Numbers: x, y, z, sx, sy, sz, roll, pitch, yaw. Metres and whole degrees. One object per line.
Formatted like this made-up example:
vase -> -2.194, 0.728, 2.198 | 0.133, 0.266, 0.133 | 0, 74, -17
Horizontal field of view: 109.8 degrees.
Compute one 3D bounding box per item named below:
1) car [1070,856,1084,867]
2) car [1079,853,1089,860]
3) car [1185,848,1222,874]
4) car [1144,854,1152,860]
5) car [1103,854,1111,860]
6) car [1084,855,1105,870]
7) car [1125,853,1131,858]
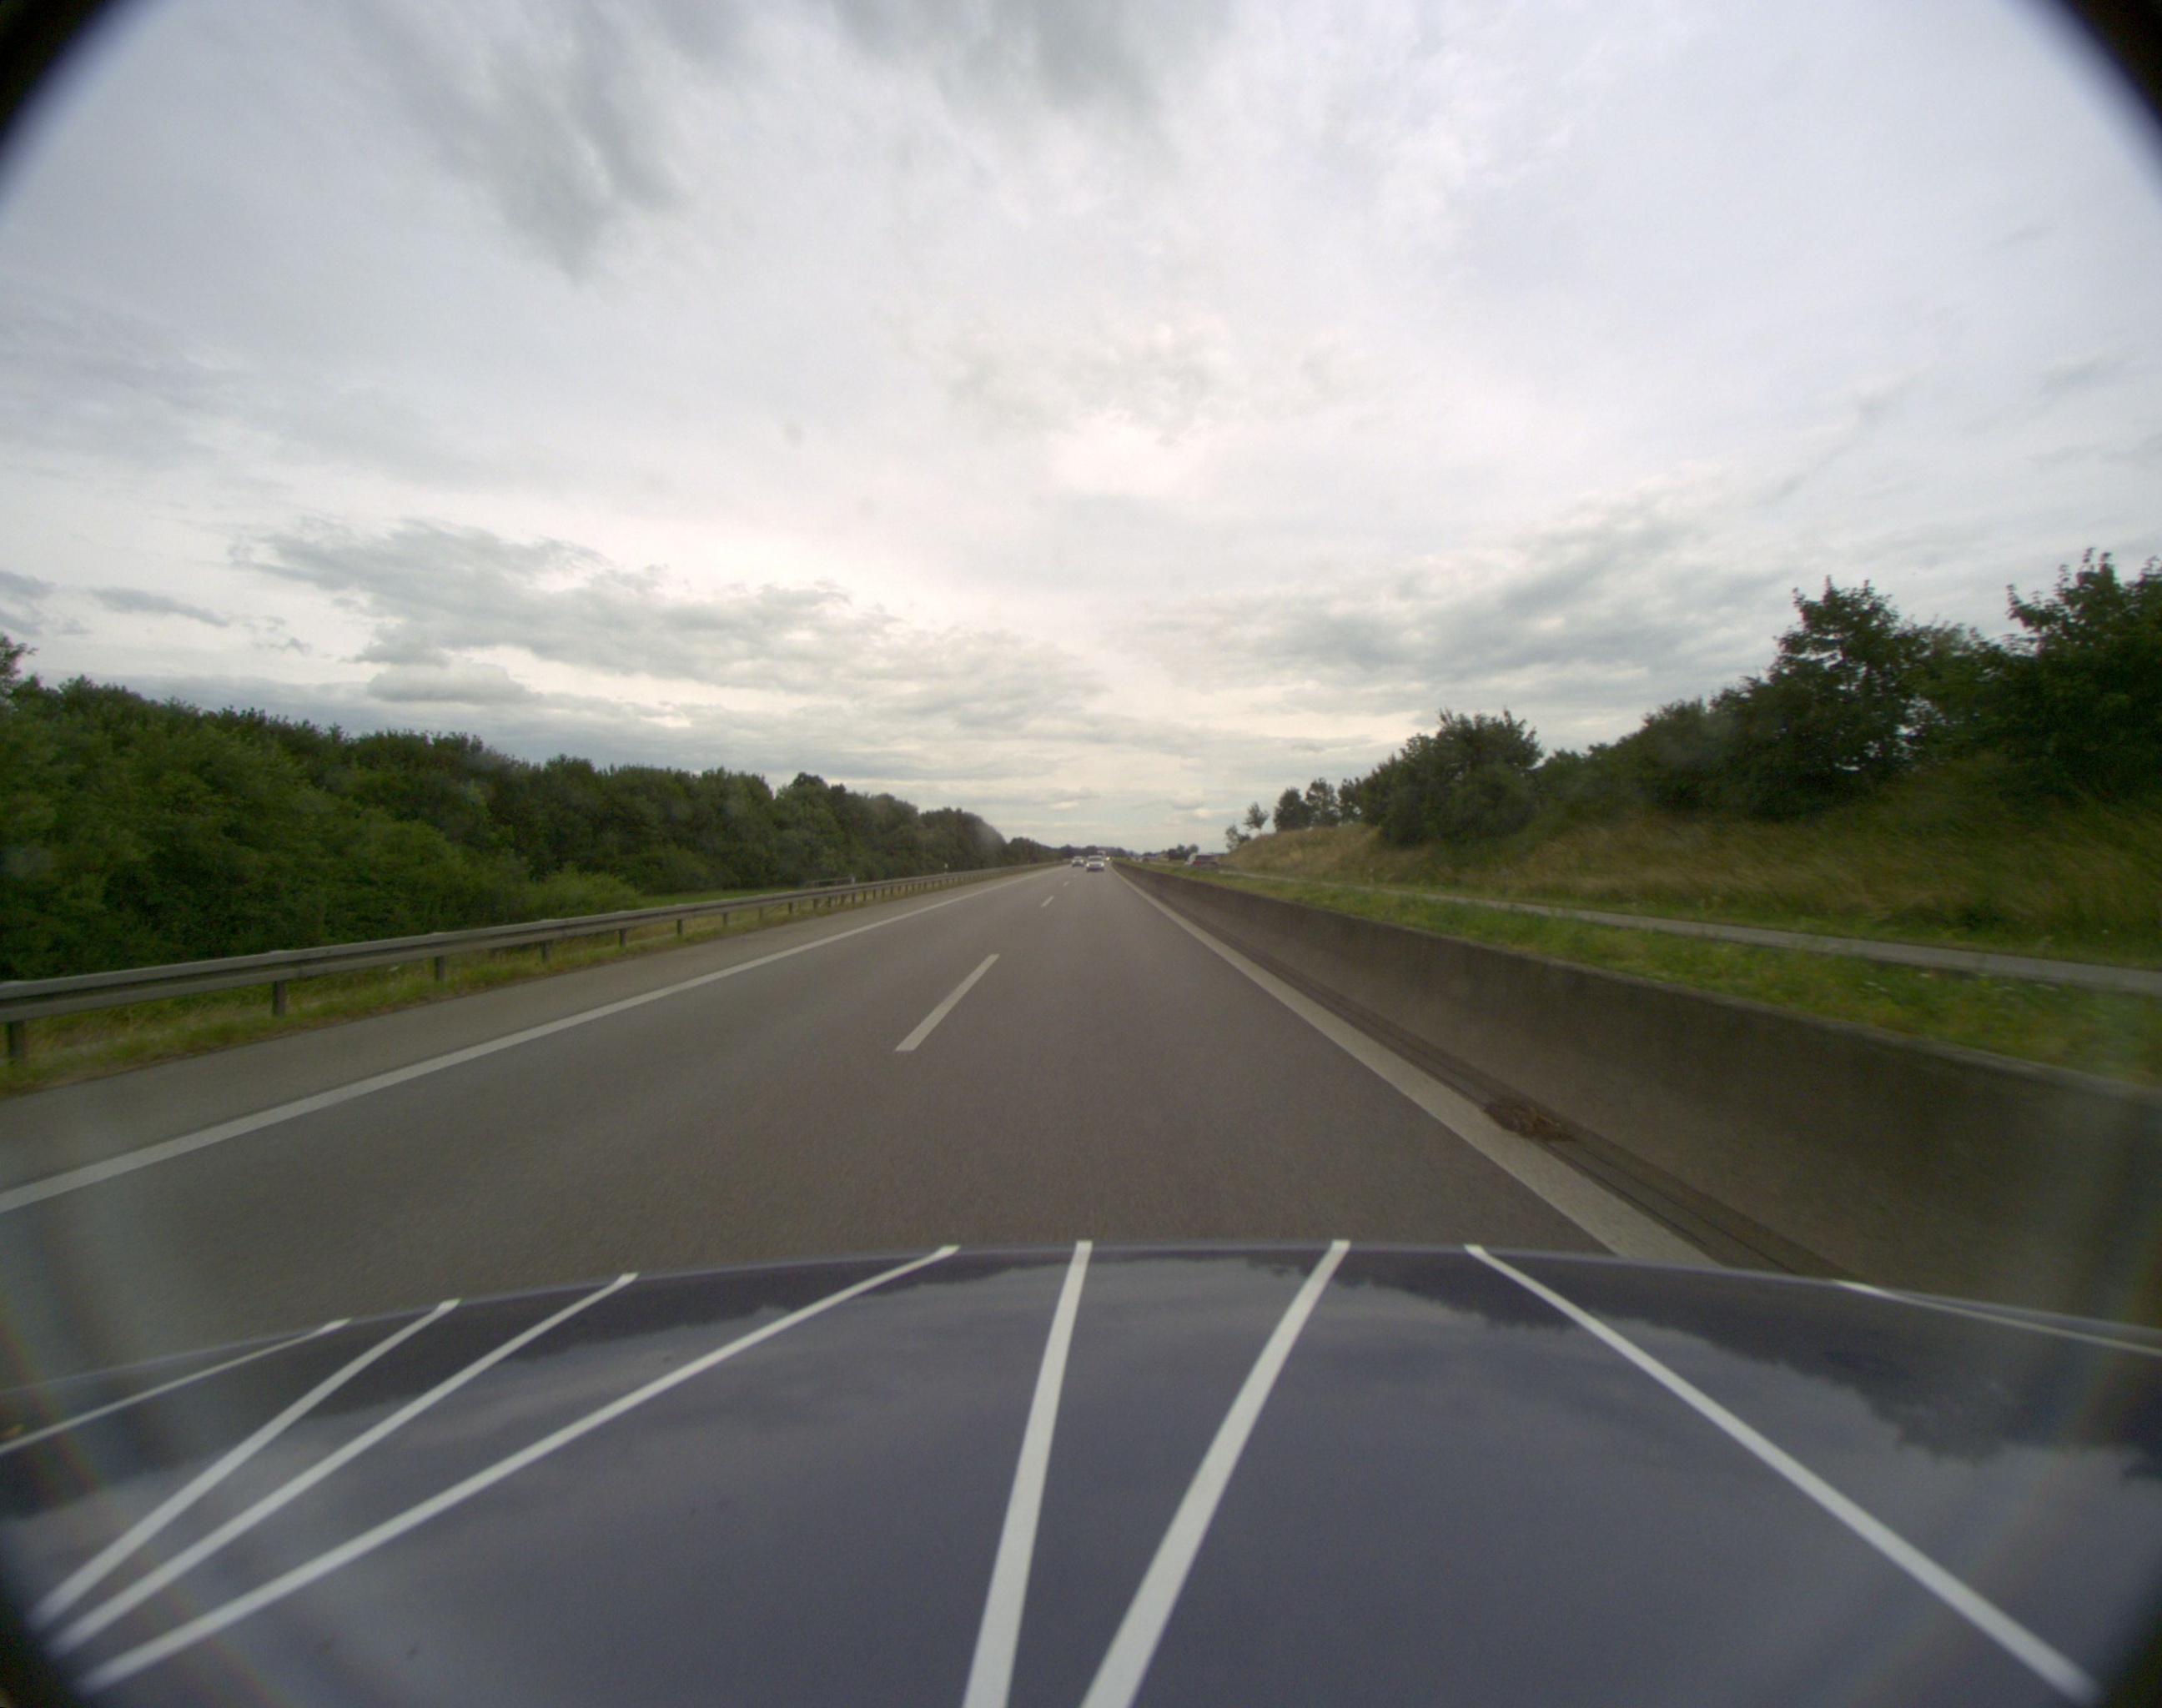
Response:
car -> -0.563, 1.179, 122.110 | 1.915, 1.553, 4.289 | -1, 0, 4
car -> 0.732, 0.564, 170.396 | 1.915, 1.553, 4.289 | -1, 0, 4
car -> 8.554, 0.466, 53.553 | 1.924, 1.684, 4.597 | 0, 0, 1
car -> 17.194, 0.715, 194.640 | 1.850, 1.488, 4.580 | 2, 0, 2
car -> 7.101, 0.772, 205.860 | 1.915, 1.553, 4.289 | -1, 0, 4
car -> 1.389, 0.864, 79.133 | 1.916, 1.553, 4.287 | -1, 0, -1
car -> 15.870, 0.532, 254.943 | 1.850, 1.562, 4.361 | 1, 0, 2
